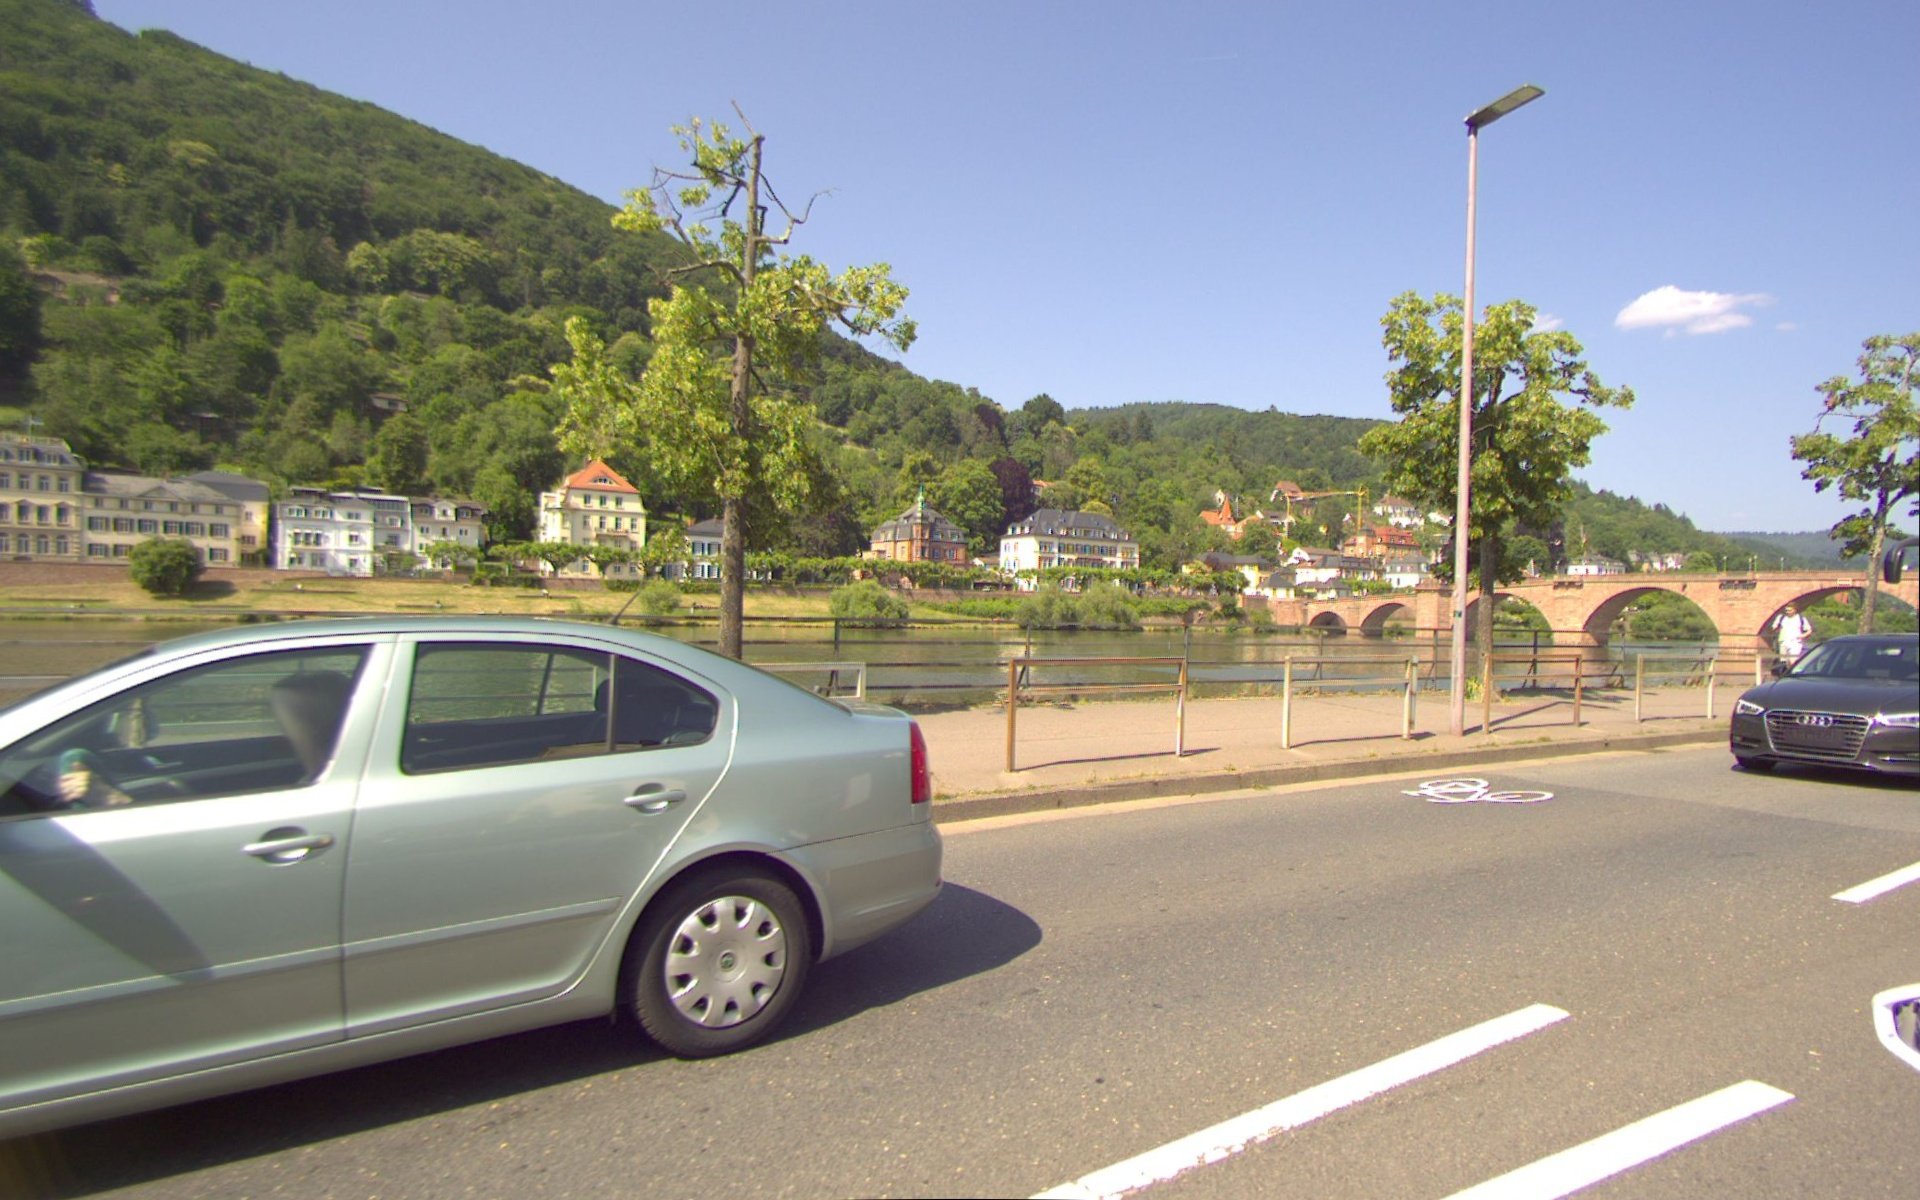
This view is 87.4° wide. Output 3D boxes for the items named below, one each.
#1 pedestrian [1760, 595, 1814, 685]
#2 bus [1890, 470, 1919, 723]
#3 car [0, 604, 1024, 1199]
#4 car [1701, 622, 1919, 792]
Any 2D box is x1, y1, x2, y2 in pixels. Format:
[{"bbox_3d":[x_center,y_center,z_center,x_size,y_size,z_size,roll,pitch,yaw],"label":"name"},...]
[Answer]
[{"bbox_3d":[16.998,0.817,20.655,0.654,1.804,0.617,1,1,-29],"label":"pedestrian"},{"bbox_3d":[19.899,0.195,16.206,12.810,3.611,2.623,2,0,-26],"label":"bus"},{"bbox_3d":[-2.021,0.757,3.485,4.262,1.447,1.804,1,-1,-32],"label":"car"},{"bbox_3d":[9.682,0.975,10.376,4.144,1.448,1.808,1,-1,-30],"label":"car"}]
